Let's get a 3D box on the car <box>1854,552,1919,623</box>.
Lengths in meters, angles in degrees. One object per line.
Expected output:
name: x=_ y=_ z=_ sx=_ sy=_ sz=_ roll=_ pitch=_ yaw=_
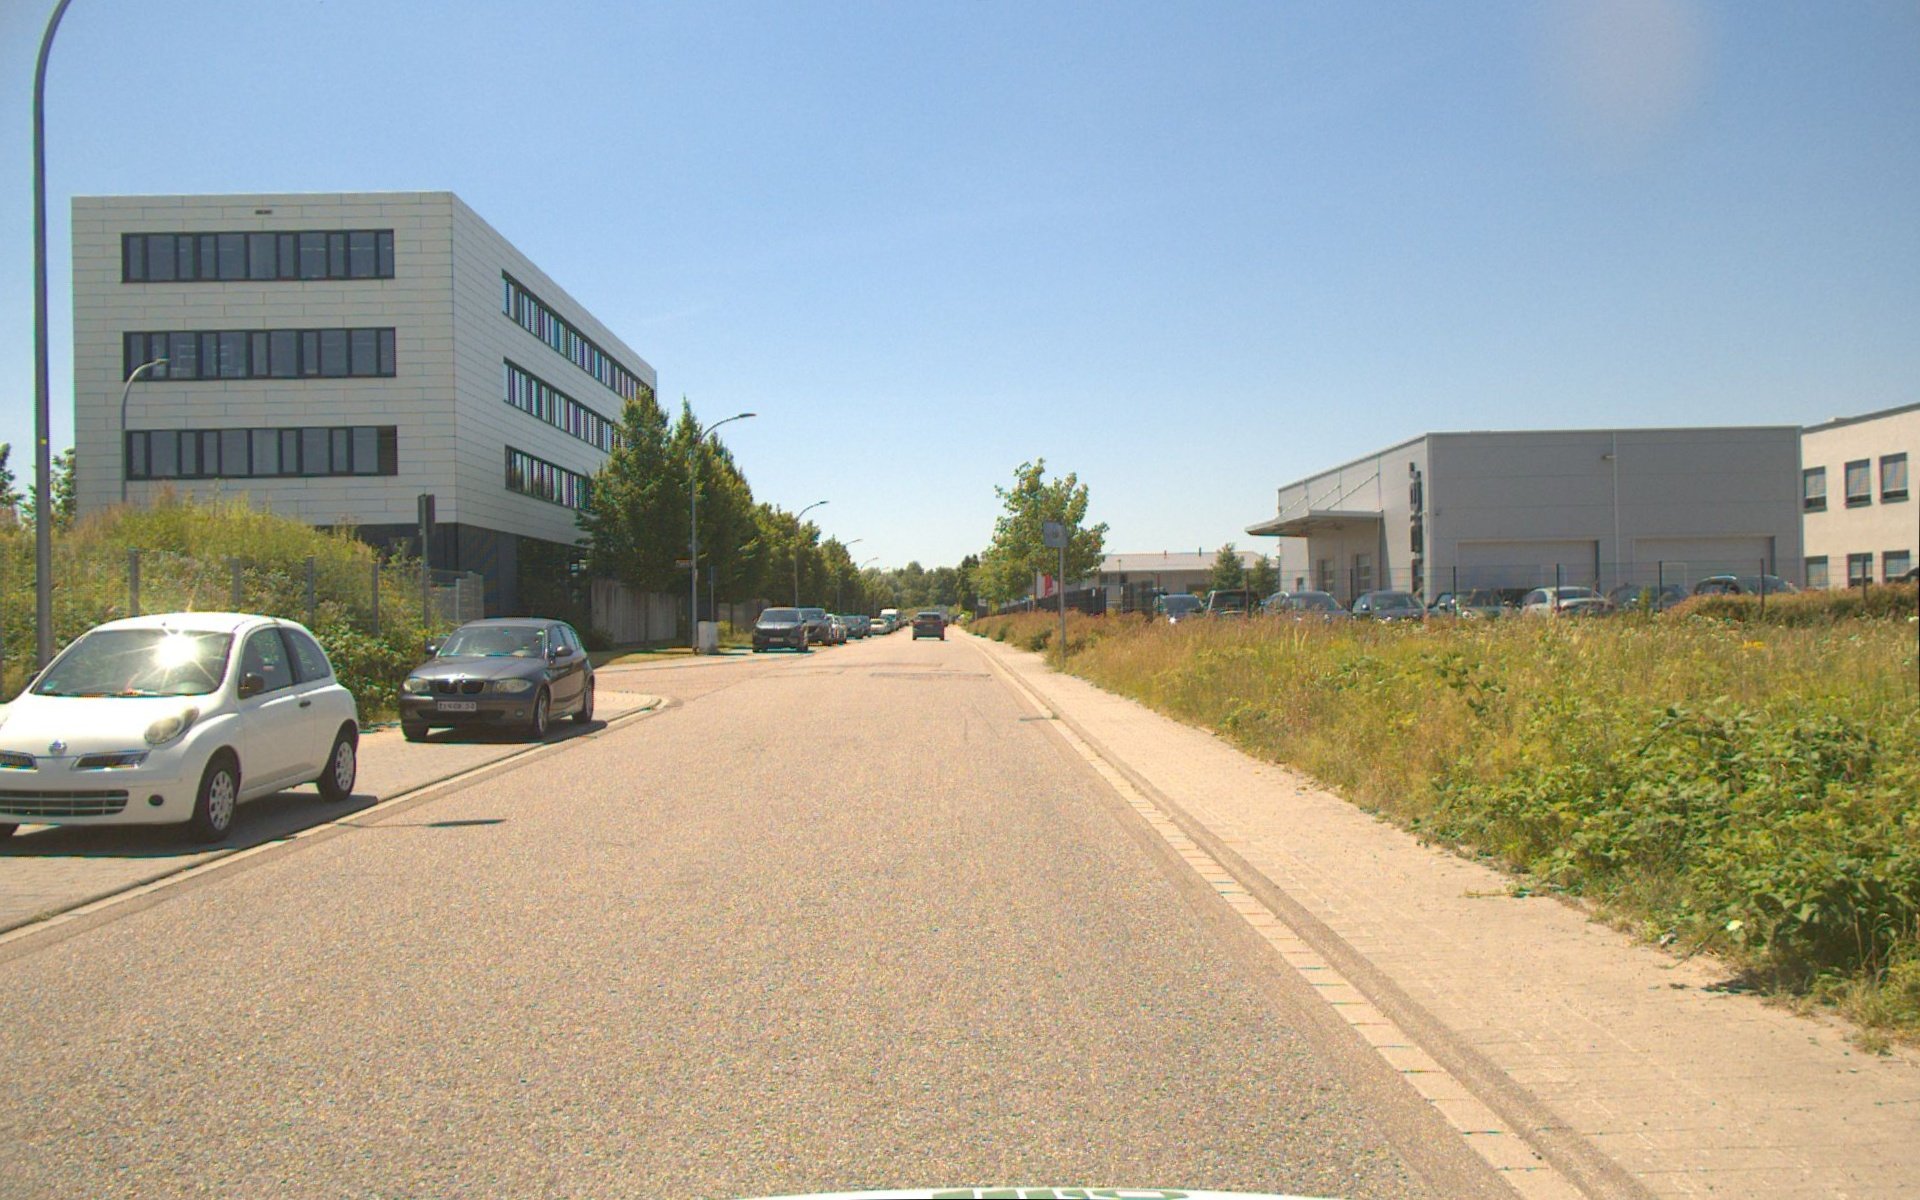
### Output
car: x=26.095 y=-0.342 z=44.468 sx=1.713 sy=1.879 sz=4.124 roll=-2 pitch=-1 yaw=-2

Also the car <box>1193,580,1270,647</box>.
car: x=6.850 y=0.351 z=41.899 sx=1.437 sy=1.601 sz=2.661 roll=-2 pitch=-1 yaw=-1

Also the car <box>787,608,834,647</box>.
car: x=-6.656 y=1.205 z=73.974 sx=1.735 sy=1.652 sz=4.581 roll=-1 pitch=-1 yaw=-1

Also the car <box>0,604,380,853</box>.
car: x=-5.804 y=0.846 z=12.383 sx=1.640 sy=1.557 sz=3.756 roll=-1 pitch=-1 yaw=-1

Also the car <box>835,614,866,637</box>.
car: x=-7.175 y=1.692 z=108.664 sx=1.735 sy=1.456 sz=4.200 roll=-1 pitch=-1 yaw=-1

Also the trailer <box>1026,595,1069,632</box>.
trailer: x=6.120 y=0.935 z=115.722 sx=2.767 sy=2.445 sz=1.418 roll=-3 pitch=-1 yaw=-5

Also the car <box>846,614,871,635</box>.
car: x=-7.798 y=1.885 z=127.265 sx=1.735 sy=1.640 sz=4.245 roll=0 pitch=-1 yaw=-2

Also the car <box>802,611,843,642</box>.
car: x=-6.742 y=1.311 z=81.476 sx=1.735 sy=1.456 sz=4.200 roll=-1 pitch=-1 yaw=-1

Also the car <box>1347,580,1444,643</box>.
car: x=11.189 y=0.307 z=42.658 sx=1.484 sy=1.522 sz=3.330 roll=-2 pitch=-1 yaw=-2

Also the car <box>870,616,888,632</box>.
car: x=-7.801 y=2.331 z=158.538 sx=1.686 sy=1.502 sz=3.855 roll=0 pitch=-1 yaw=-3

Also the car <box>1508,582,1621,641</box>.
car: x=15.544 y=0.316 z=42.666 sx=1.484 sy=1.421 sz=3.539 roll=-2 pitch=-1 yaw=-2

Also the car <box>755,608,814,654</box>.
car: x=-6.424 y=1.130 z=60.978 sx=1.735 sy=1.616 sz=4.480 roll=-1 pitch=-1 yaw=-1

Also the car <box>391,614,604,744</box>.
car: x=-5.821 y=0.947 z=21.296 sx=1.640 sy=1.476 sz=4.068 roll=-1 pitch=-1 yaw=-1

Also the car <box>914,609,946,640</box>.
car: x=-1.696 y=1.373 z=93.021 sx=1.753 sy=1.652 sz=3.808 roll=1 pitch=-1 yaw=-1

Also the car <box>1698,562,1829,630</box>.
car: x=21.104 y=-0.069 z=43.592 sx=1.484 sy=1.662 sz=3.782 roll=-2 pitch=-1 yaw=-2

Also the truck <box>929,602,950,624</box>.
truck: x=-2.902 y=1.873 z=231.377 sx=2.873 sy=3.026 sz=6.418 roll=1 pitch=-1 yaw=0

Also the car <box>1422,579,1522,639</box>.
car: x=13.312 y=0.250 z=43.149 sx=1.428 sy=1.437 sz=3.330 roll=-2 pitch=-1 yaw=-2

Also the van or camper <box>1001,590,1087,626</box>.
van or camper: x=6.649 y=0.655 z=132.036 sx=6.621 sy=2.630 sz=2.635 roll=-2 pitch=-1 yaw=-2
